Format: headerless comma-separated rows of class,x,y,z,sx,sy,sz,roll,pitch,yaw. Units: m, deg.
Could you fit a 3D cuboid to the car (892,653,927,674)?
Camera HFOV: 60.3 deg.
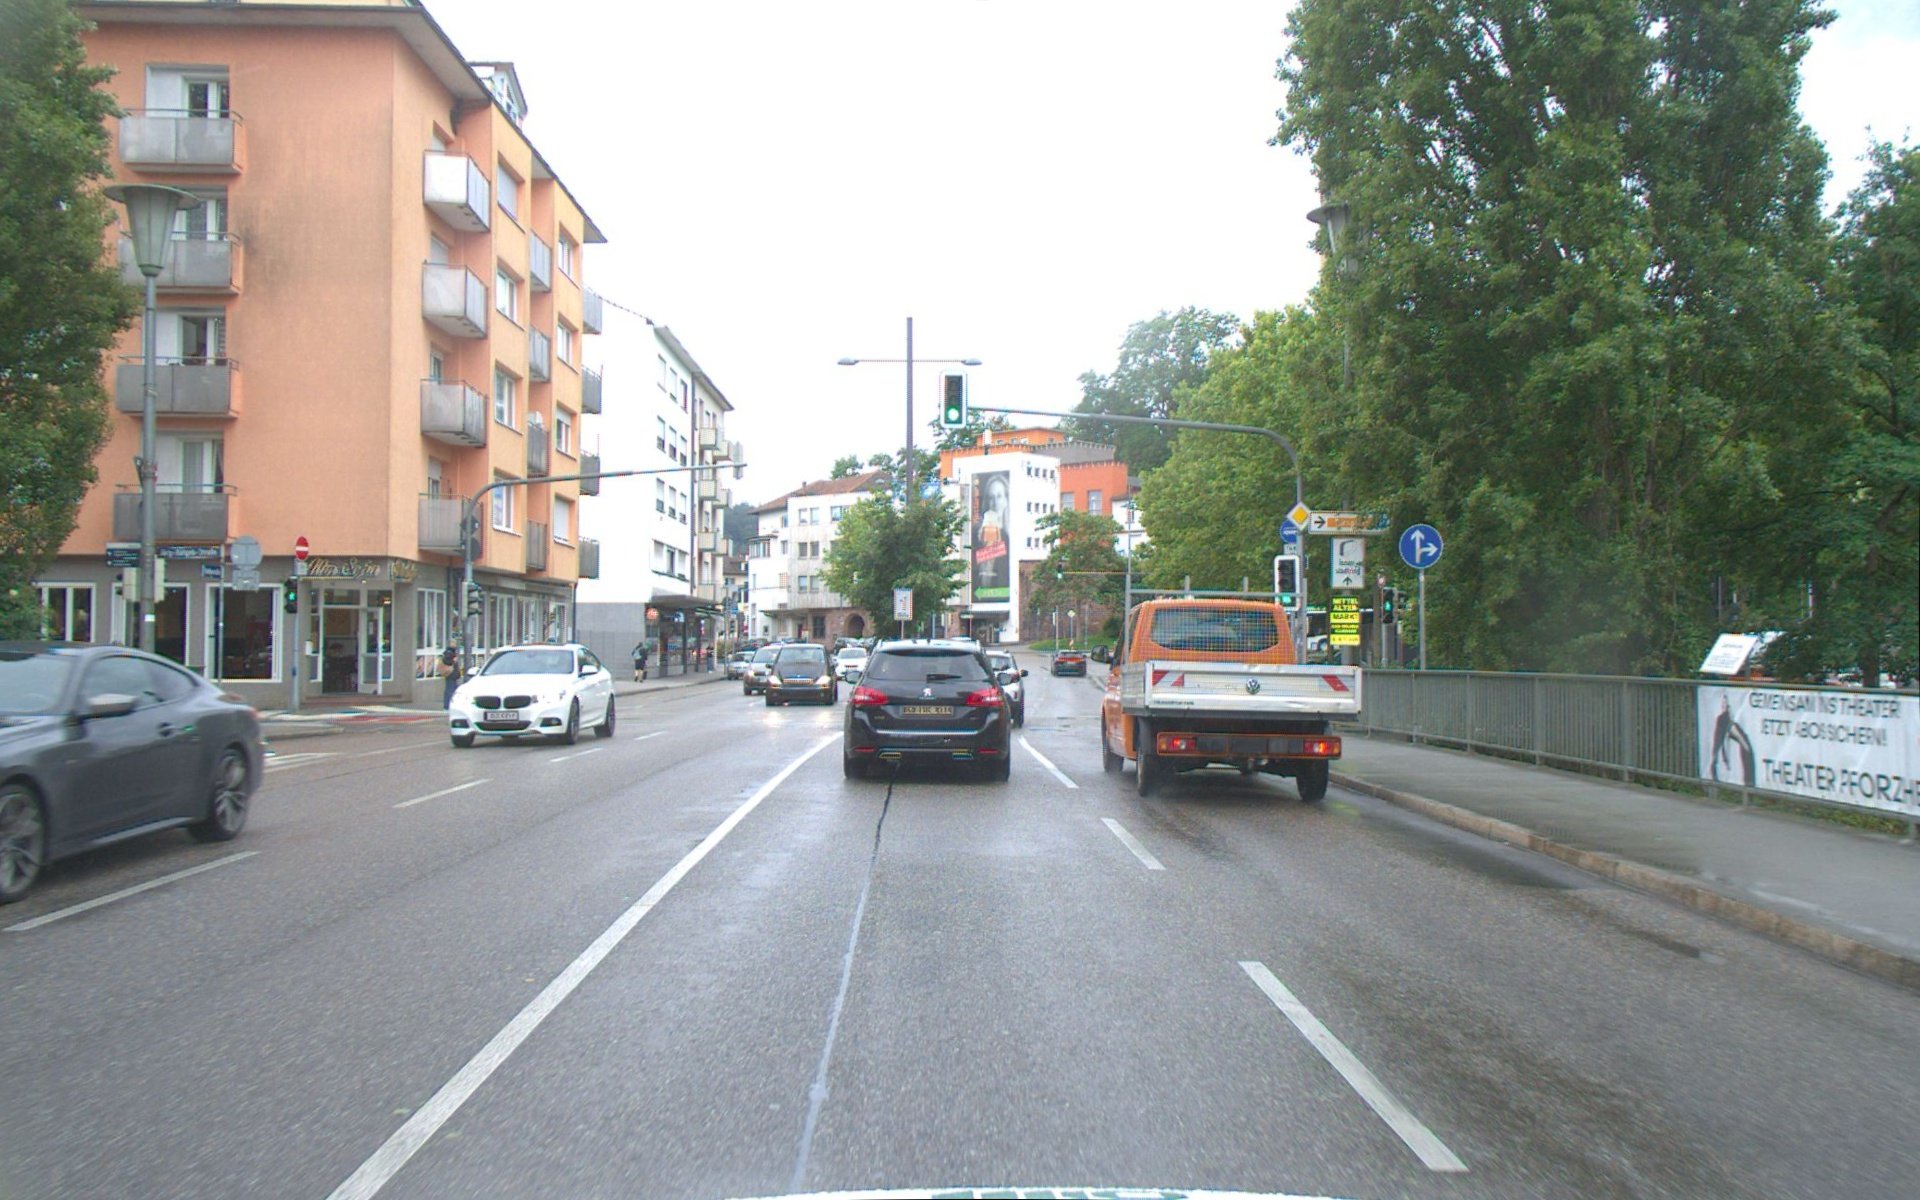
car,-4.187,5.272,136.876,1.624,1.592,3.570,5,-5,-25

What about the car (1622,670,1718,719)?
car,25.769,3.414,60.152,1.564,1.680,3.632,-1,-2,-7

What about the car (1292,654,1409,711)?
car,14.485,3.062,61.570,3.904,1.958,1.970,2,-2,2

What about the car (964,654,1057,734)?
car,1.023,1.876,33.488,1.757,1.510,4.000,0,-2,2

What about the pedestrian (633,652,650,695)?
pedestrian,-14.104,3.262,73.282,0.626,1.894,0.523,1,-2,-3

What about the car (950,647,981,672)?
car,0.374,4.511,125.555,1.955,1.853,3.995,1,-2,-5

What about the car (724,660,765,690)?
car,-11.329,3.930,87.071,1.741,1.552,3.659,0,-2,-2

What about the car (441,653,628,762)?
car,-6.513,1.597,25.861,1.799,1.536,4.818,0,-2,-2

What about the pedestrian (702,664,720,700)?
pedestrian,-14.415,4.734,95.666,0.720,2.049,0.650,6,-6,-34

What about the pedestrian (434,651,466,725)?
pedestrian,-12.279,2.116,39.848,0.519,1.757,0.649,0,-2,3

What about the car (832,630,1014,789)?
car,-0.301,1.174,18.306,1.757,1.510,4.000,2,-3,2

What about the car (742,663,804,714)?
car,-6.238,2.934,55.581,1.701,1.630,3.917,0,-2,-1

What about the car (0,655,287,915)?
car,-5.905,1.024,10.251,1.755,1.348,4.404,0,-2,-2

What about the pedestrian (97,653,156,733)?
pedestrian,-15.740,1.768,31.235,0.638,1.471,0.800,-2,-4,5

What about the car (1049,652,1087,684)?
car,5.988,3.796,92.103,1.612,1.592,3.596,3,-5,-4

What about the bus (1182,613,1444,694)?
bus,24.453,3.735,115.136,17.546,5.303,3.099,1,-3,2

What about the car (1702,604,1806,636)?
car,45.698,1.170,95.212,5.221,1.788,1.931,-1,-3,32

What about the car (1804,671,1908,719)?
car,33.057,3.474,61.127,1.781,1.680,4.000,1,-3,2

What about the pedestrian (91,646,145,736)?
pedestrian,-16.270,1.766,31.968,0.783,1.693,0.619,-4,-5,34

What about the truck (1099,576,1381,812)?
truck,2.696,0.895,17.107,2.078,2.061,4.714,1,-1,0

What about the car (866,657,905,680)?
car,-5.722,5.246,126.812,1.624,1.592,3.570,5,-5,-25

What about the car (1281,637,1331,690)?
car,20.157,3.720,96.532,2.030,3.023,4.226,1,-3,0

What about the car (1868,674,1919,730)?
car,32.403,3.404,55.294,1.764,1.795,3.943,0,-2,-4

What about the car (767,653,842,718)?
car,-4.148,2.265,44.628,1.701,1.630,3.918,-1,-2,-1

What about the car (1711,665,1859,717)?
car,27.190,2.988,54.579,4.040,1.650,1.804,0,-2,-5

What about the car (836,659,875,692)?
car,-4.938,3.557,78.373,1.620,1.475,3.542,-1,-2,0

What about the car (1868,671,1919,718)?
car,35.733,3.512,61.540,1.781,1.680,4.000,1,-3,2
